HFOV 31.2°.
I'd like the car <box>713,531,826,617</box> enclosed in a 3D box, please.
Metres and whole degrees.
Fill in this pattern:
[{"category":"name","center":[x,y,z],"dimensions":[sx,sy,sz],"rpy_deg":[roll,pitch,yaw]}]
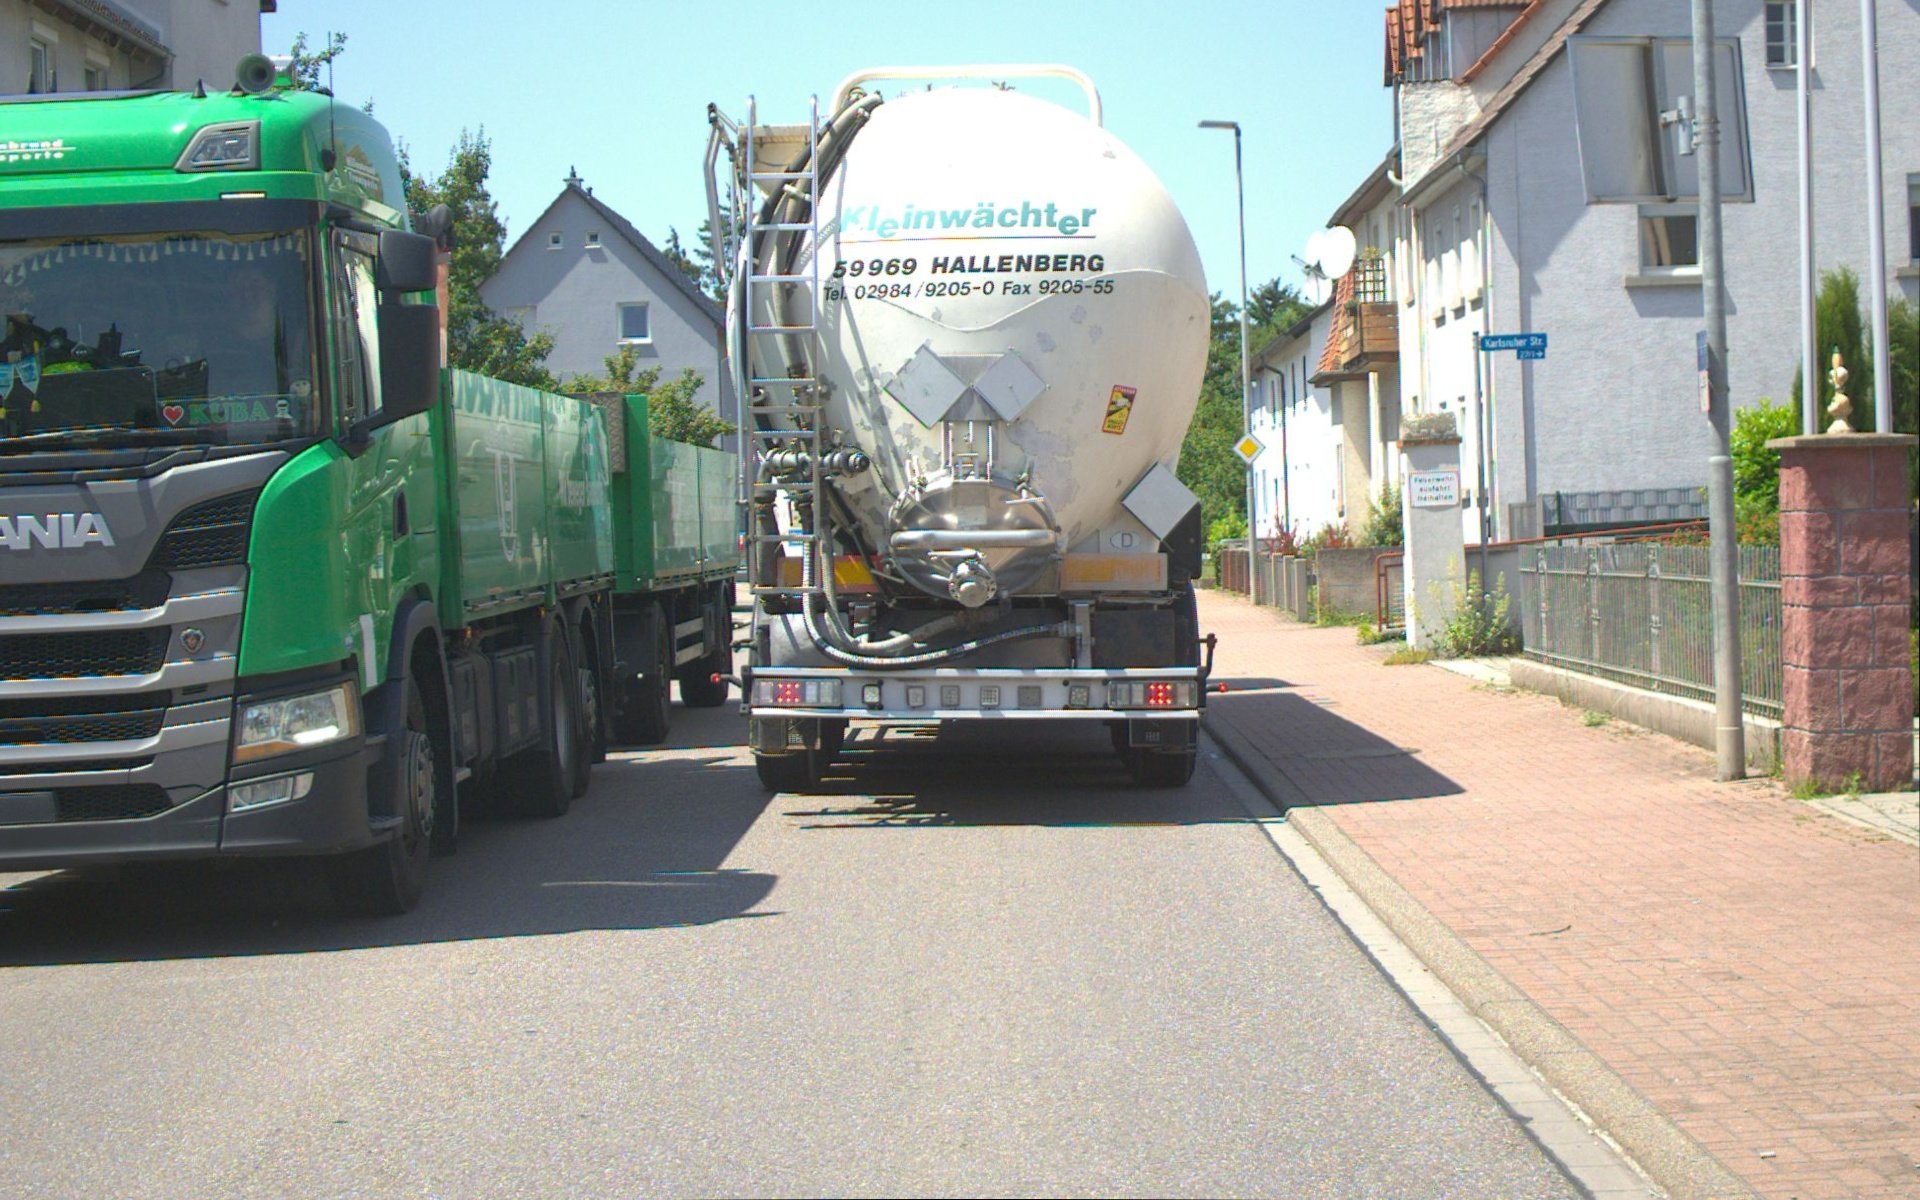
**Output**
[{"category":"car","center":[-3.464,-0.507,63.146],"dimensions":[1.730,1.455,4.694],"rpy_deg":[-2,1,0]}]

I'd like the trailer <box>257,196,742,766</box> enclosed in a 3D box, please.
[{"category":"trailer","center":[-3.272,-0.873,26.674],"dimensions":[2.530,3.636,8.462],"rpy_deg":[-2,1,0]}]

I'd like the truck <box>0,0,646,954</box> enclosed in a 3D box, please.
[{"category":"truck","center":[-3.404,-0.689,17.406],"dimensions":[2.567,3.687,10.079],"rpy_deg":[-3,1,0]}]

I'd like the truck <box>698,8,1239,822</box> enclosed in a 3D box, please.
[{"category":"truck","center":[0.042,-1.017,21.789],"dimensions":[2.641,4.002,9.562],"rpy_deg":[0,1,0]}]
